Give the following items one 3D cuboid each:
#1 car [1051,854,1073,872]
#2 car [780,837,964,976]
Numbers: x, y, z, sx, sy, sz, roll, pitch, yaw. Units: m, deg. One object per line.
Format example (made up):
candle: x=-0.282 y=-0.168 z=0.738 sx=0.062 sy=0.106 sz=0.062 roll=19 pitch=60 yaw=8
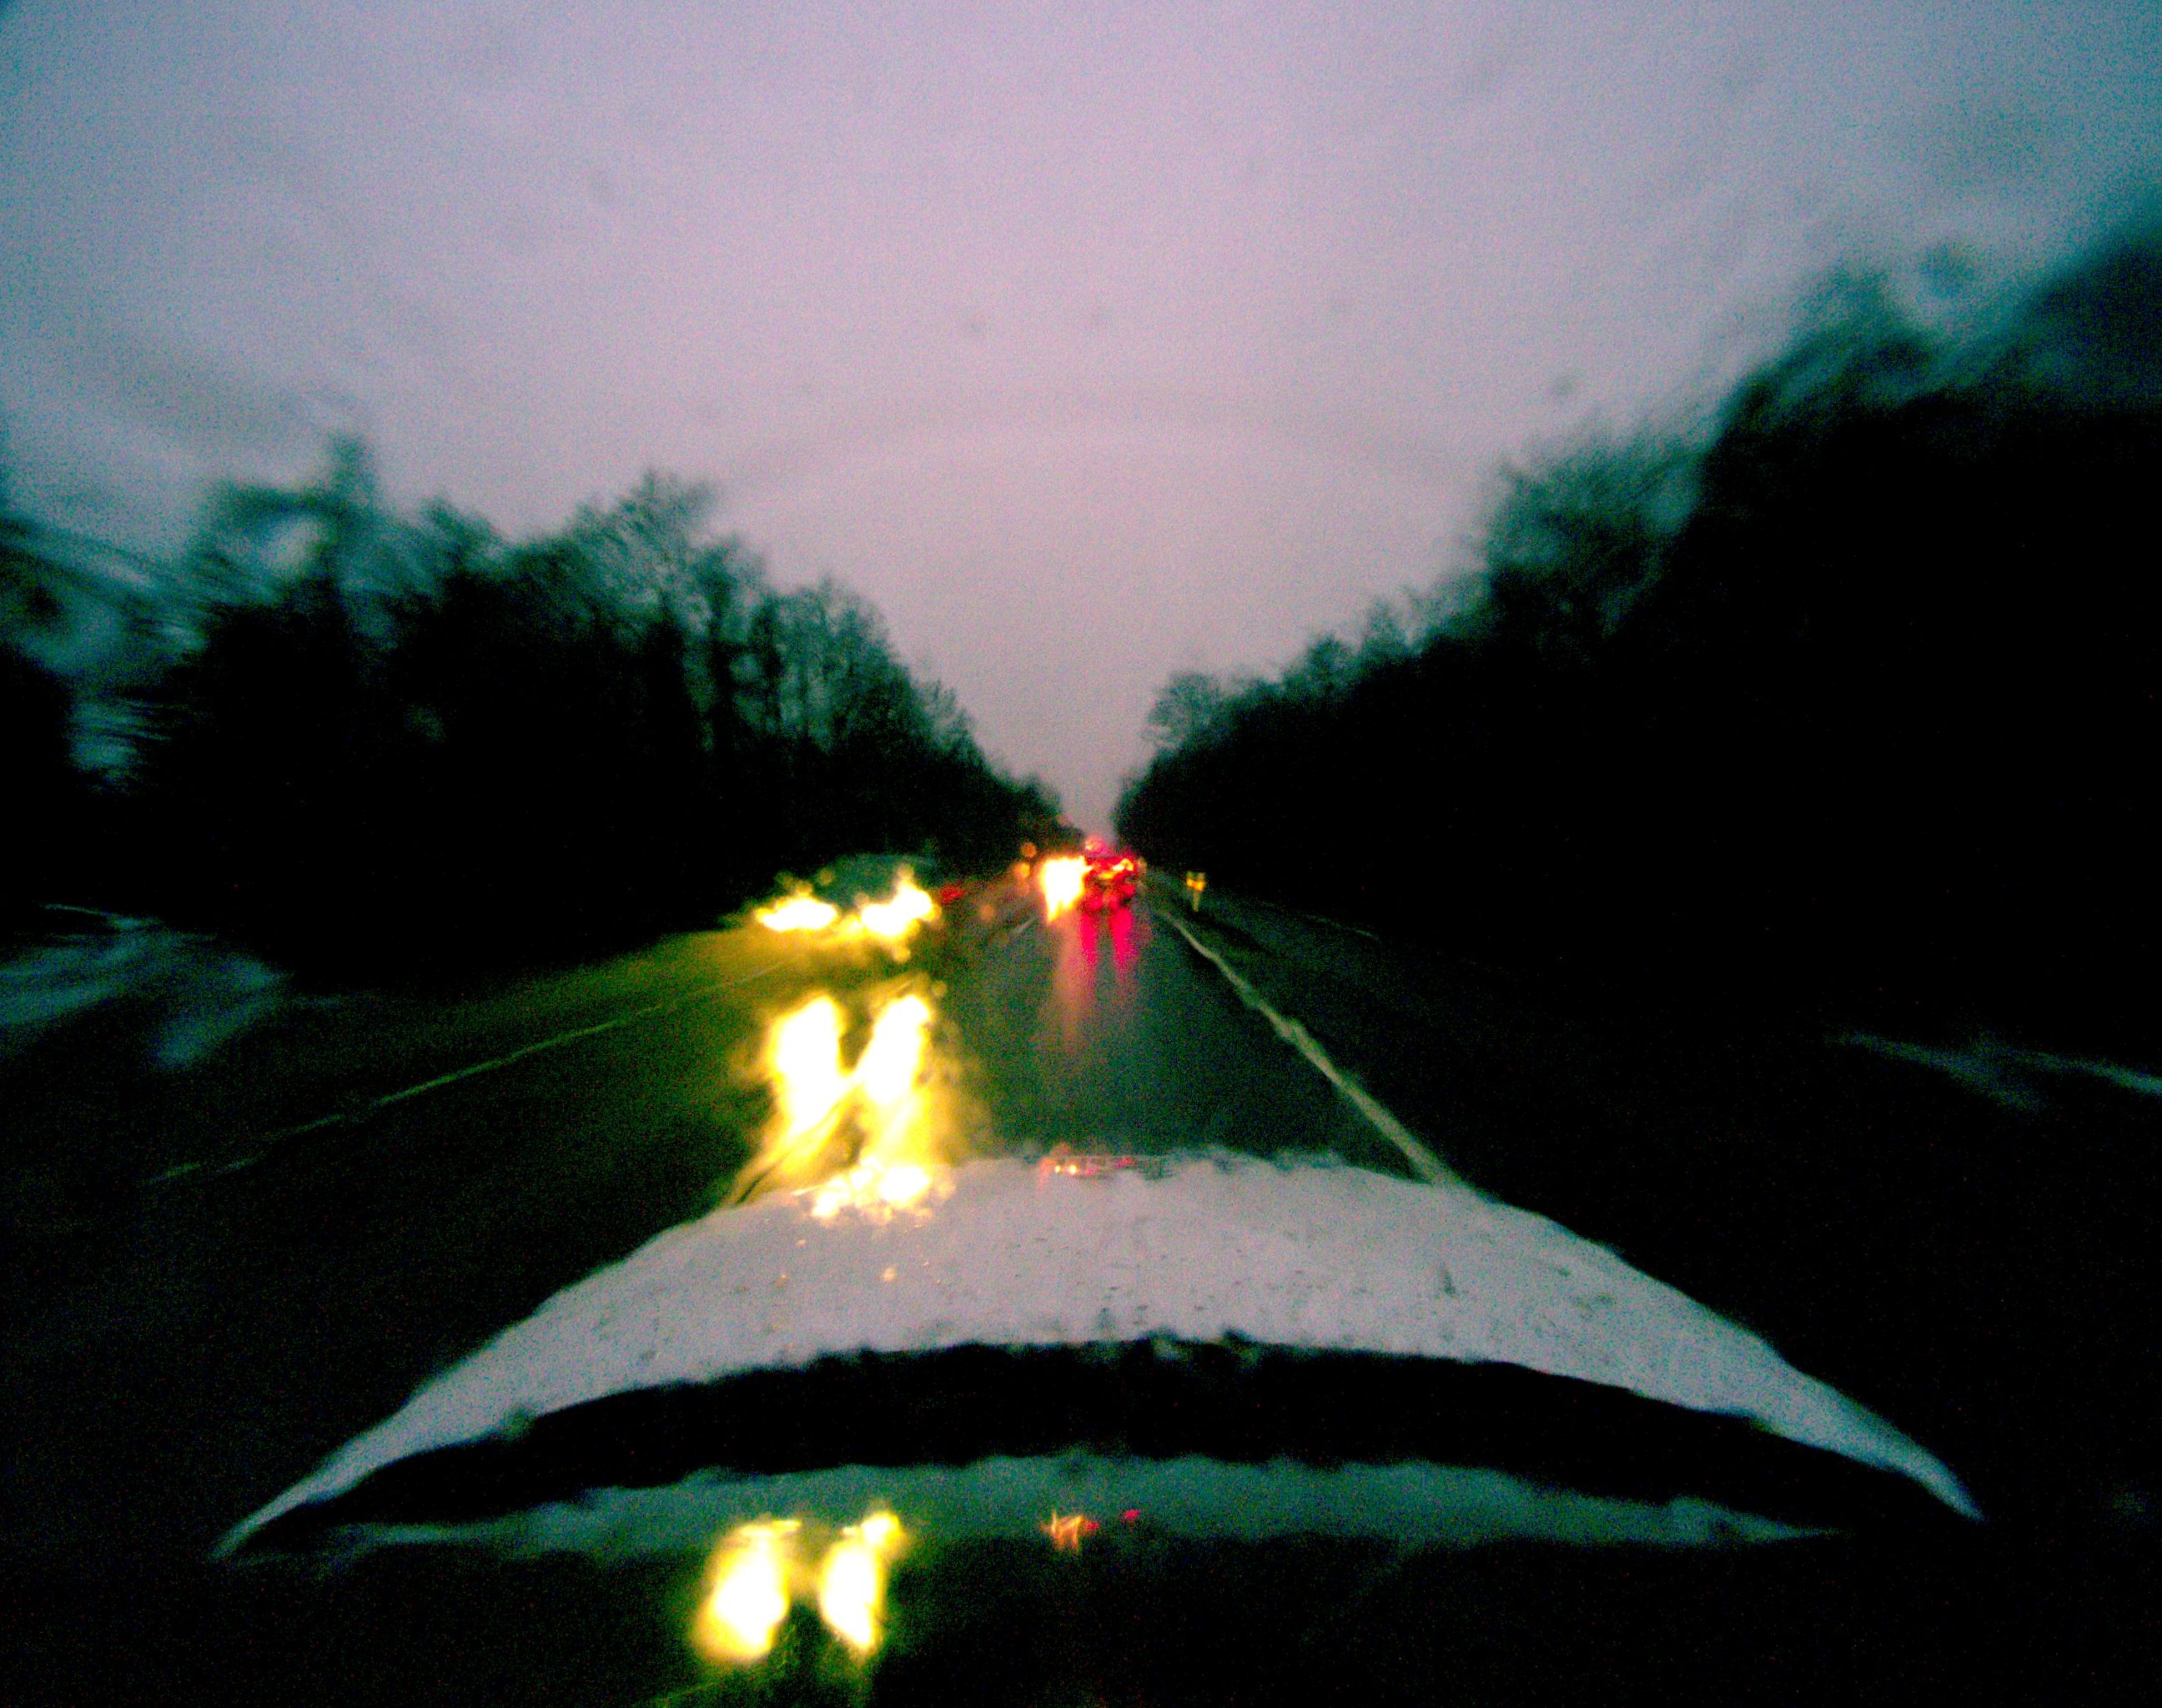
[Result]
car: x=-1.542 y=0.723 z=67.267 sx=1.613 sy=1.389 sz=4.072 roll=-2 pitch=0 yaw=0
car: x=-3.181 y=0.739 z=13.328 sx=1.700 sy=1.822 sz=4.287 roll=-3 pitch=0 yaw=2
